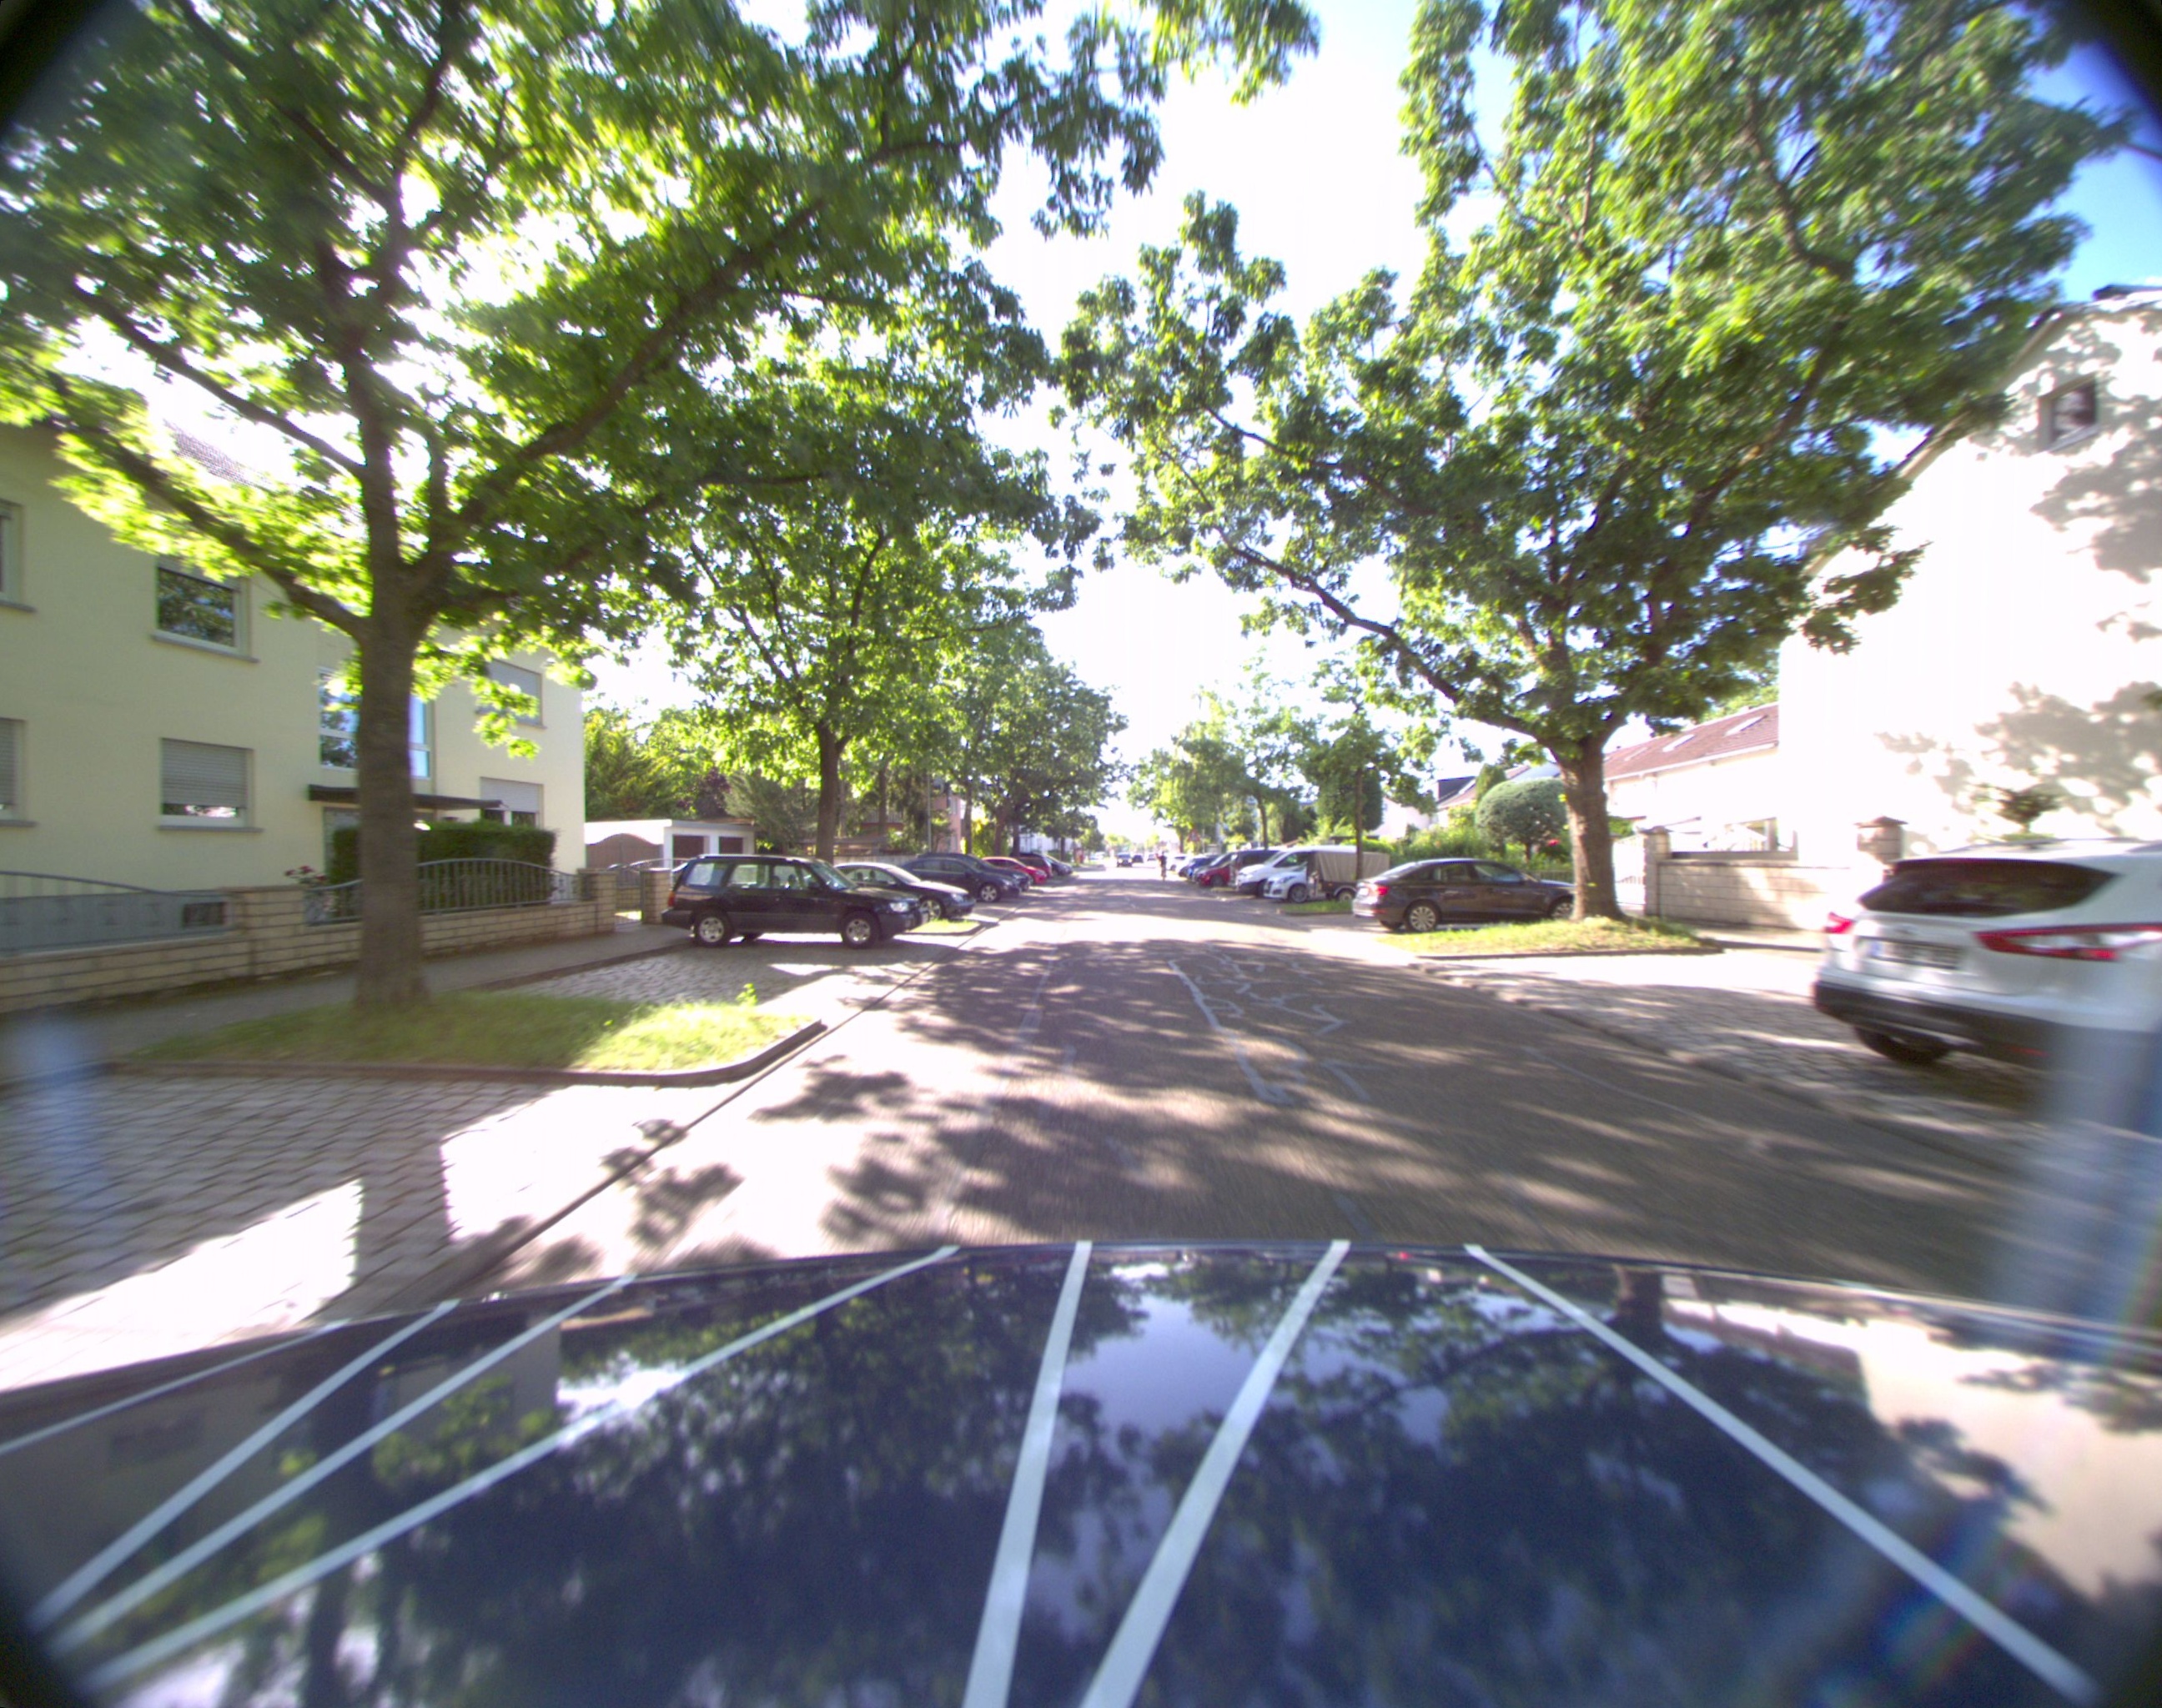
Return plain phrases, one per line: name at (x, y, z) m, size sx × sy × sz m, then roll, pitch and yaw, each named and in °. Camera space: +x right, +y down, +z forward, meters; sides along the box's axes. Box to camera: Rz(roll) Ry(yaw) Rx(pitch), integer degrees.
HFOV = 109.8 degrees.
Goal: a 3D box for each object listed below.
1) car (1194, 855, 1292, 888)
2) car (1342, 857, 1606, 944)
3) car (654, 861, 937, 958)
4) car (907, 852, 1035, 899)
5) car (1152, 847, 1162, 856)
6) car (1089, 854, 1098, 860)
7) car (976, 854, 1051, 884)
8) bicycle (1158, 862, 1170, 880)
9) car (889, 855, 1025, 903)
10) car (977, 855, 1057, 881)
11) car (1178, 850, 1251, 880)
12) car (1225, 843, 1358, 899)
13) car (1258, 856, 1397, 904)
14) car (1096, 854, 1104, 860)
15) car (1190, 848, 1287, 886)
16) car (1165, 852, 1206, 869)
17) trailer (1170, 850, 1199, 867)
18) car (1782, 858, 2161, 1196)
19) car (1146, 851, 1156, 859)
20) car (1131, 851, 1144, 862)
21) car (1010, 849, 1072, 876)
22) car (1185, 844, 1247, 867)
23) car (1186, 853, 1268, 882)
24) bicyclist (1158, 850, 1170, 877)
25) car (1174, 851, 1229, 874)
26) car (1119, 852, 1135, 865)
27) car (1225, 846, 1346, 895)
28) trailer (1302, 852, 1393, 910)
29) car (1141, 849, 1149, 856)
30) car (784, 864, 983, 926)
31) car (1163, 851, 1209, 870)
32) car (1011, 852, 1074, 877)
car at (7.913, 0.859, 37.434) m, size 4.486 × 1.491 × 1.837 m, roll -1°, pitch 1°, yaw 3°
car at (7.487, 0.867, 14.797) m, size 4.220 × 1.463 × 1.691 m, roll -2°, pitch 0°, yaw 3°
car at (-4.953, 0.934, 13.637) m, size 4.349 × 1.551 × 1.867 m, roll 1°, pitch 1°, yaw 0°
car at (-4.136, 0.793, 29.059) m, size 4.584 × 1.637 × 1.838 m, roll 1°, pitch 1°, yaw 1°
car at (14.575, -0.465, 146.299) m, size 1.764 × 1.469 × 3.852 m, roll 2°, pitch 0°, yaw 5°
car at (3.084, 0.771, 183.716) m, size 1.944 × 1.412 × 4.001 m, roll -1°, pitch 0°, yaw 5°
car at (-3.599, 0.808, 40.770) m, size 3.786 × 1.476 × 1.755 m, roll 1°, pitch 1°, yaw 3°
bicycle at (5.096, 1.042, 46.653) m, size 0.598 × 1.052 × 1.986 m, roll 2°, pitch 1°, yaw 2°
car at (-4.206, 0.847, 26.265) m, size 4.330 × 1.521 × 1.841 m, roll 1°, pitch 0°, yaw 1°
car at (-3.790, 0.797, 45.425) m, size 4.513 × 1.437 × 1.838 m, roll 1°, pitch 1°, yaw 3°
car at (8.217, 0.683, 47.105) m, size 4.220 × 1.714 × 1.761 m, roll -2°, pitch 1°, yaw 2°
car at (7.576, 0.586, 27.625) m, size 4.247 × 1.933 × 2.000 m, roll -1°, pitch 1°, yaw -1°
car at (8.011, 0.823, 24.892) m, size 3.998 × 1.507 × 1.690 m, roll 0°, pitch 1°, yaw -2°
car at (4.875, 0.764, 198.180) m, size 1.830 × 1.324 × 3.679 m, roll 0°, pitch 0°, yaw 6°
car at (8.229, 0.663, 39.891) m, size 4.685 × 1.758 × 1.795 m, roll -2°, pitch 0°, yaw 1°
car at (9.585, 0.575, 69.645) m, size 3.523 × 1.487 × 1.708 m, roll -1°, pitch 0°, yaw 1°
trailer at (10.430, 0.467, 76.797) m, size 2.766 × 1.638 × 1.299 m, roll -1°, pitch 2°, yaw -1°
car at (7.181, 0.831, 4.556) m, size 4.197 × 1.558 × 1.792 m, roll -2°, pitch 0°, yaw 2°
car at (12.616, 0.198, 136.126) m, size 1.764 × 1.390 × 3.852 m, roll -1°, pitch 0°, yaw 6°
car at (8.856, 0.373, 118.469) m, size 1.741 × 1.532 × 3.949 m, roll -1°, pitch 0°, yaw 7°
car at (-2.858, 0.590, 54.478) m, size 4.221 × 1.771 × 1.789 m, roll 1°, pitch 1°, yaw 3°
car at (9.184, 0.104, 52.092) m, size 4.010 × 1.506 × 1.795 m, roll 0°, pitch 1°, yaw 4°
car at (8.178, 0.743, 42.745) m, size 4.282 × 1.416 × 1.723 m, roll -2°, pitch 0°, yaw 0°
bicyclist at (5.112, 0.567, 46.619) m, size 0.597 × 1.664 × 0.975 m, roll 2°, pitch 1°, yaw 2°
car at (9.098, 0.639, 57.520) m, size 3.947 × 1.604 × 1.706 m, roll -2°, pitch 0°, yaw 4°
car at (5.488, 0.504, 90.493) m, size 1.877 × 1.469 × 3.852 m, roll -1°, pitch 0°, yaw 5°
car at (8.099, 0.615, 30.370) m, size 4.249 × 1.760 × 1.967 m, roll -2°, pitch 1°, yaw -1°
trailer at (7.848, 0.781, 22.480) m, size 2.240 × 1.664 × 1.475 m, roll -1°, pitch 0°, yaw 5°
car at (14.727, -0.345, 174.085) m, size 1.877 × 1.470 × 3.851 m, roll 0°, pitch 1°, yaw 5°
car at (-4.806, 0.984, 18.824) m, size 4.437 × 1.323 × 1.691 m, roll 1°, pitch 1°, yaw 3°
car at (9.931, 0.611, 71.920) m, size 3.964 × 1.565 × 1.921 m, roll -2°, pitch 1°, yaw -4°
car at (-2.875, 0.769, 57.446) m, size 4.513 × 1.670 × 1.879 m, roll 2°, pitch 1°, yaw 2°
